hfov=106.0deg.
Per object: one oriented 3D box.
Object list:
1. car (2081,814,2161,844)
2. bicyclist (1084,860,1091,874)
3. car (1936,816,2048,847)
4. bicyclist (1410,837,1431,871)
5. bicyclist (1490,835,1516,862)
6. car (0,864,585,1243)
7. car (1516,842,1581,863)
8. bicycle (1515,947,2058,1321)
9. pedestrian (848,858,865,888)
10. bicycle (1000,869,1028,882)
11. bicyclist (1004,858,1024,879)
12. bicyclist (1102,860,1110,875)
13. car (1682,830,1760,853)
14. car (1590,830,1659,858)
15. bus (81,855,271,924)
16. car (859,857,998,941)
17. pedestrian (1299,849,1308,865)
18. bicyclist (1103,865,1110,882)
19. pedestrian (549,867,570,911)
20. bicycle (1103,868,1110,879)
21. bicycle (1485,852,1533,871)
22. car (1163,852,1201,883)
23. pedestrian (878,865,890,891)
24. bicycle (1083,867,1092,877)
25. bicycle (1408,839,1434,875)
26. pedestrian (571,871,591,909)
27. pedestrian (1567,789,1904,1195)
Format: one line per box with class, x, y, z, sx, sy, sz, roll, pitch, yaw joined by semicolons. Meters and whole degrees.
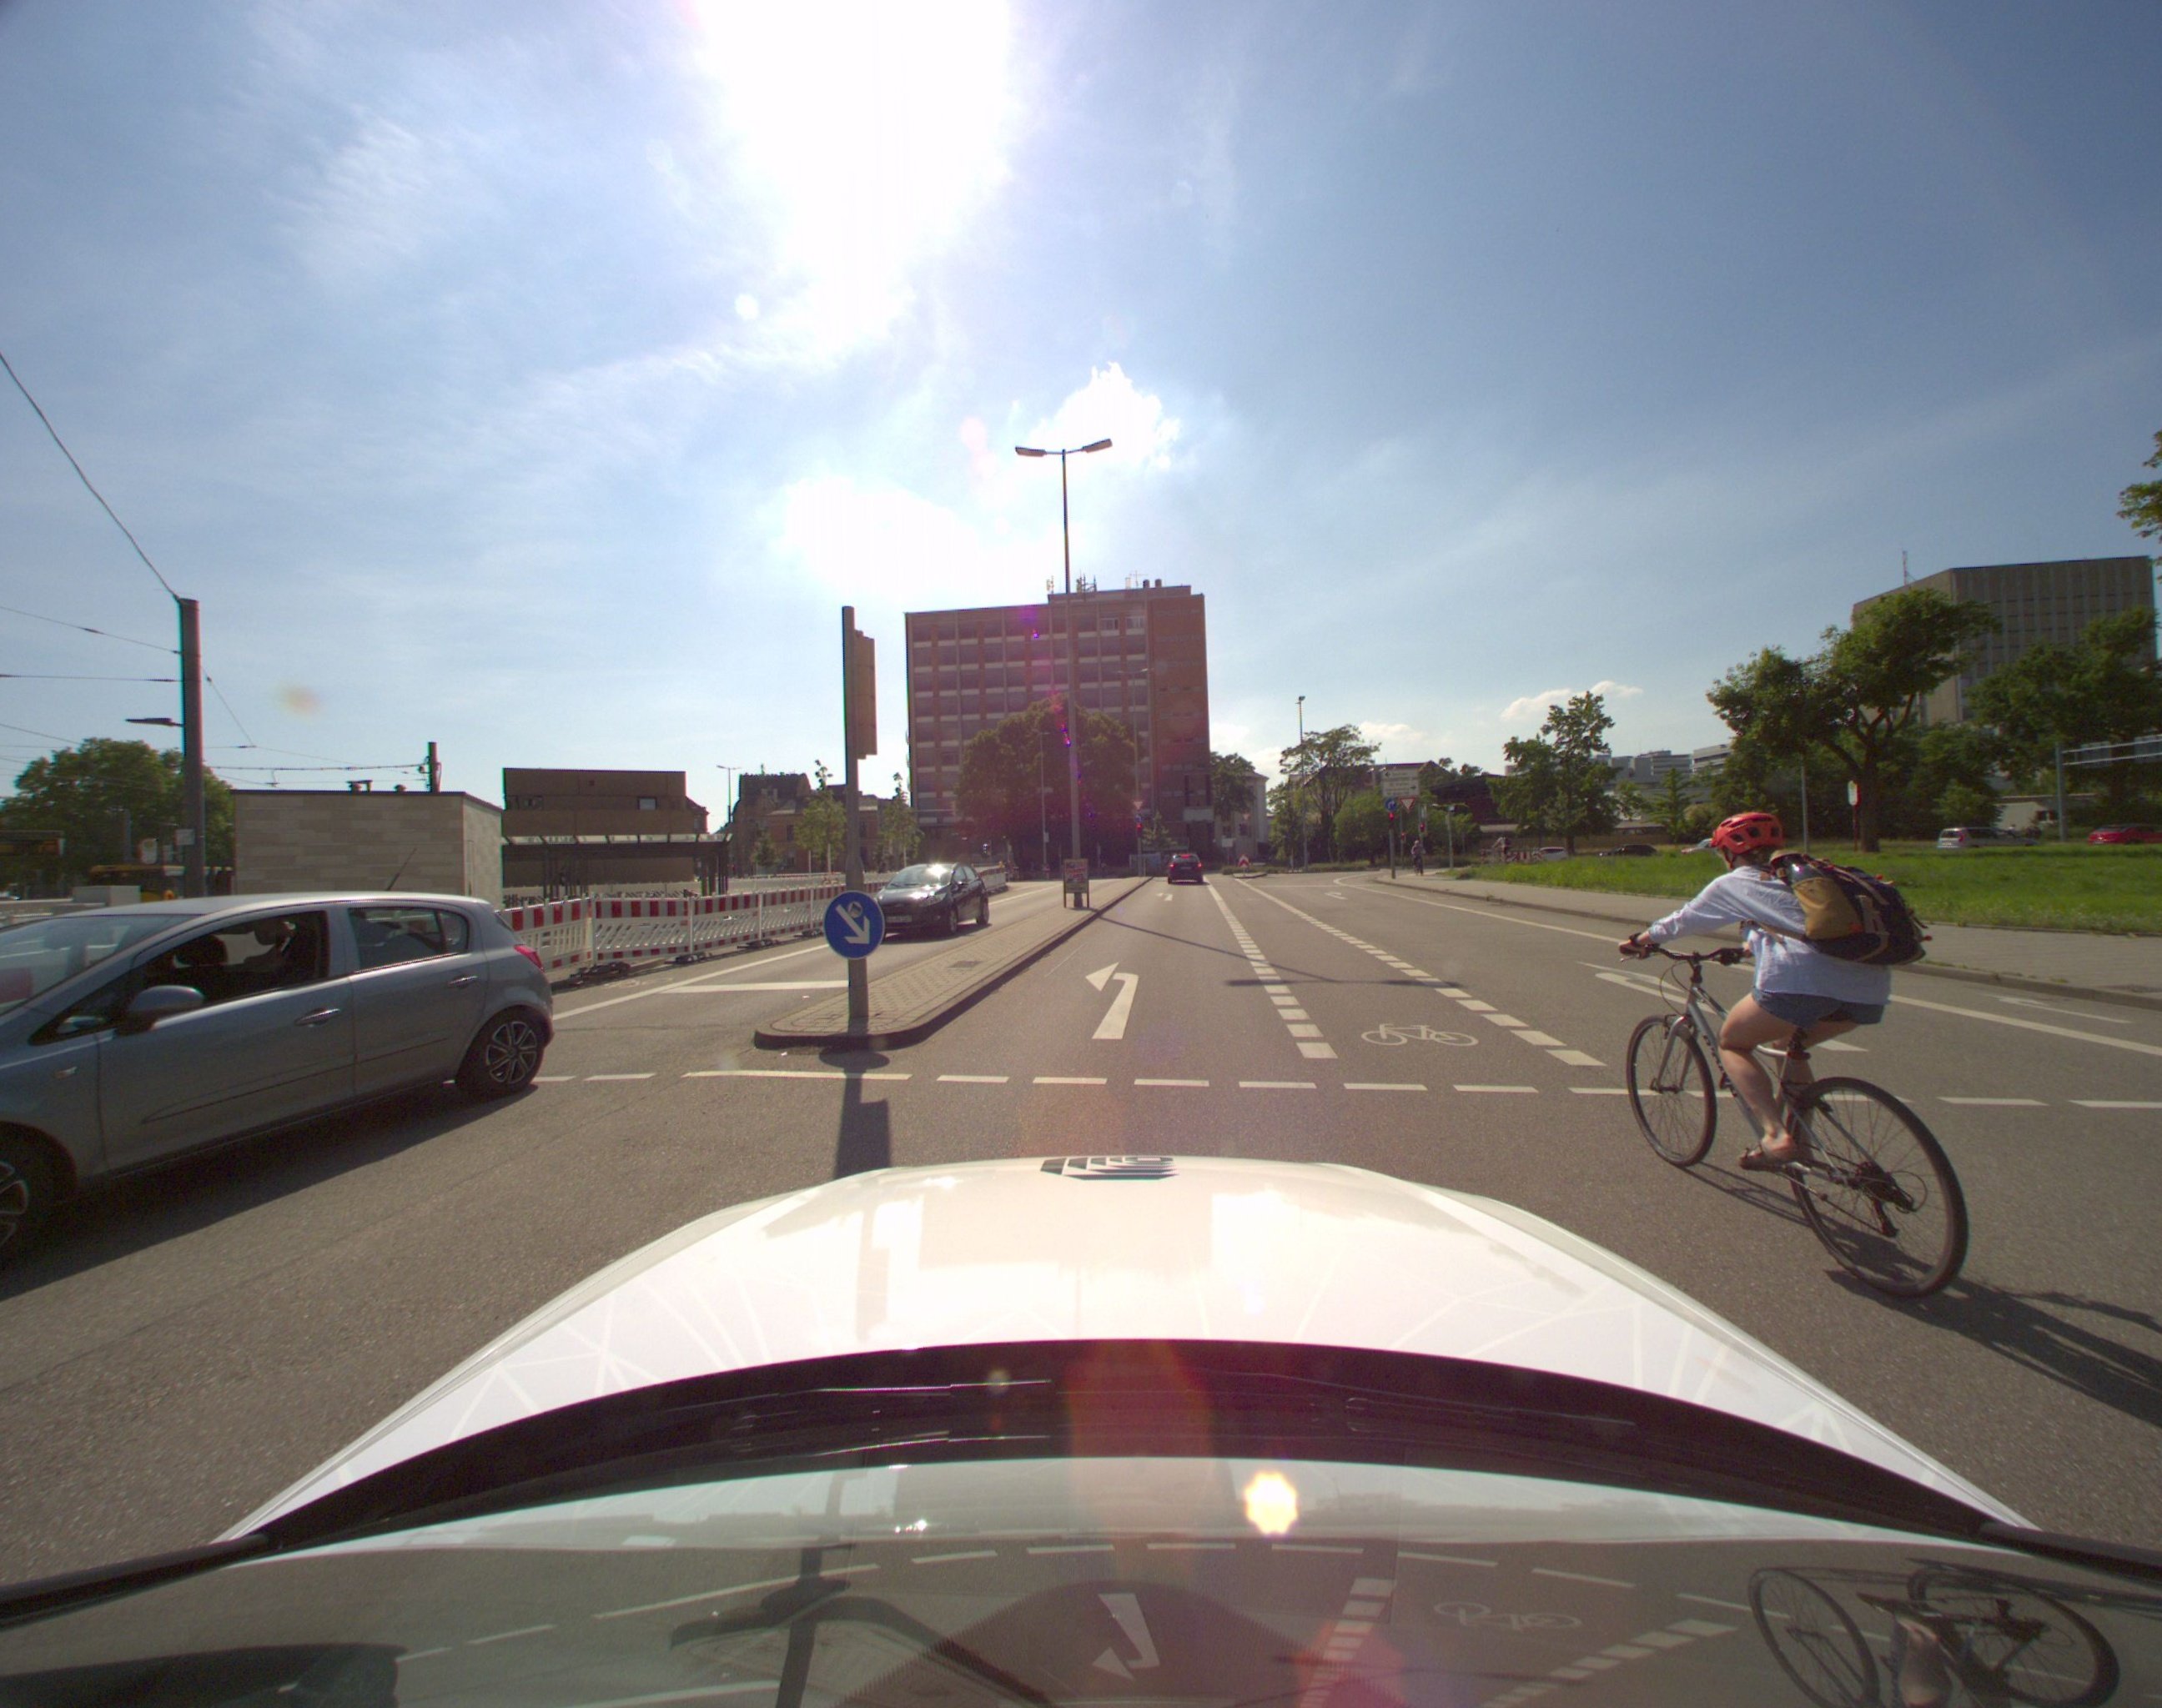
car;57.263;-1.317;43.996;3.965;1.508;1.756;1;0;7
bicyclist;0.641;1.279;80.580;0.536;1.417;1.032;-3;-2;6
car;50.705;-1.220;45.382;3.965;1.508;1.756;-3;0;7
bicyclist;16.872;-0.006;40.446;0.674;1.655;0.921;-3;-1;7
bicyclist;22.712;-0.285;43.882;0.498;1.470;1.130;1;-2;-35
car;-4.926;0.840;4.240;1.784;1.412;4.009;-4;0;8
car;37.112;-0.139;64.722;3.965;1.464;2.004;-2;-2;7
bicycle;2.726;0.982;3.539;0.594;0.931;2.028;-1;-1;0
pedestrian;-13.247;1.136;48.071;0.735;1.752;1.107;-2;-3;-9
bicycle;-4.778;1.516;57.747;1.874;0.792;0.563;-2;1;20
bicyclist;-4.752;1.031;57.739;1.155;1.474;0.567;-3;-1;19
bicyclist;2.424;1.306;78.691;0.616;1.443;0.921;-5;-1;3
car;49.144;-0.919;62.616;4.287;1.569;1.914;-2;0;7
car;42.767;-0.801;64.171;3.963;2.013;2.005;-3;0;9
bus;-50.635;1.889;46.218;2.869;3.281;12.544;-2;-1;-27
car;-3.070;0.857;17.167;1.657;1.451;3.826;-4;-1;8
pedestrian;26.170;0.321;95.745;0.787;1.874;0.642;-4;0;20
bicyclist;2.467;1.843;78.683;0.616;1.582;1.014;-5;-1;3
pedestrian;-23.169;1.551;36.188;0.436;1.915;0.609;-3;-1;28
bicycle;2.467;1.843;78.683;0.616;0.961;1.969;-5;-1;3
bicycle;22.928;0.410;43.674;0.677;0.916;2.145;-2;-1;-35
car;5.075;0.648;40.696;1.770;1.443;3.826;-1;0;8
pedestrian;-11.975;1.451;49.489;0.630;1.491;0.615;-2;-1;-9
bicycle;0.632;1.777;80.836;0.701;0.977;2.034;-3;0;6
bicycle;16.866;0.145;40.409;0.674;1.765;1.815;-3;0;7
pedestrian;-23.023;1.646;37.502;0.533;1.708;0.573;-3;-1;28
pedestrian;2.690;0.503;3.477;0.581;1.466;1.013;-1;-1;-1
